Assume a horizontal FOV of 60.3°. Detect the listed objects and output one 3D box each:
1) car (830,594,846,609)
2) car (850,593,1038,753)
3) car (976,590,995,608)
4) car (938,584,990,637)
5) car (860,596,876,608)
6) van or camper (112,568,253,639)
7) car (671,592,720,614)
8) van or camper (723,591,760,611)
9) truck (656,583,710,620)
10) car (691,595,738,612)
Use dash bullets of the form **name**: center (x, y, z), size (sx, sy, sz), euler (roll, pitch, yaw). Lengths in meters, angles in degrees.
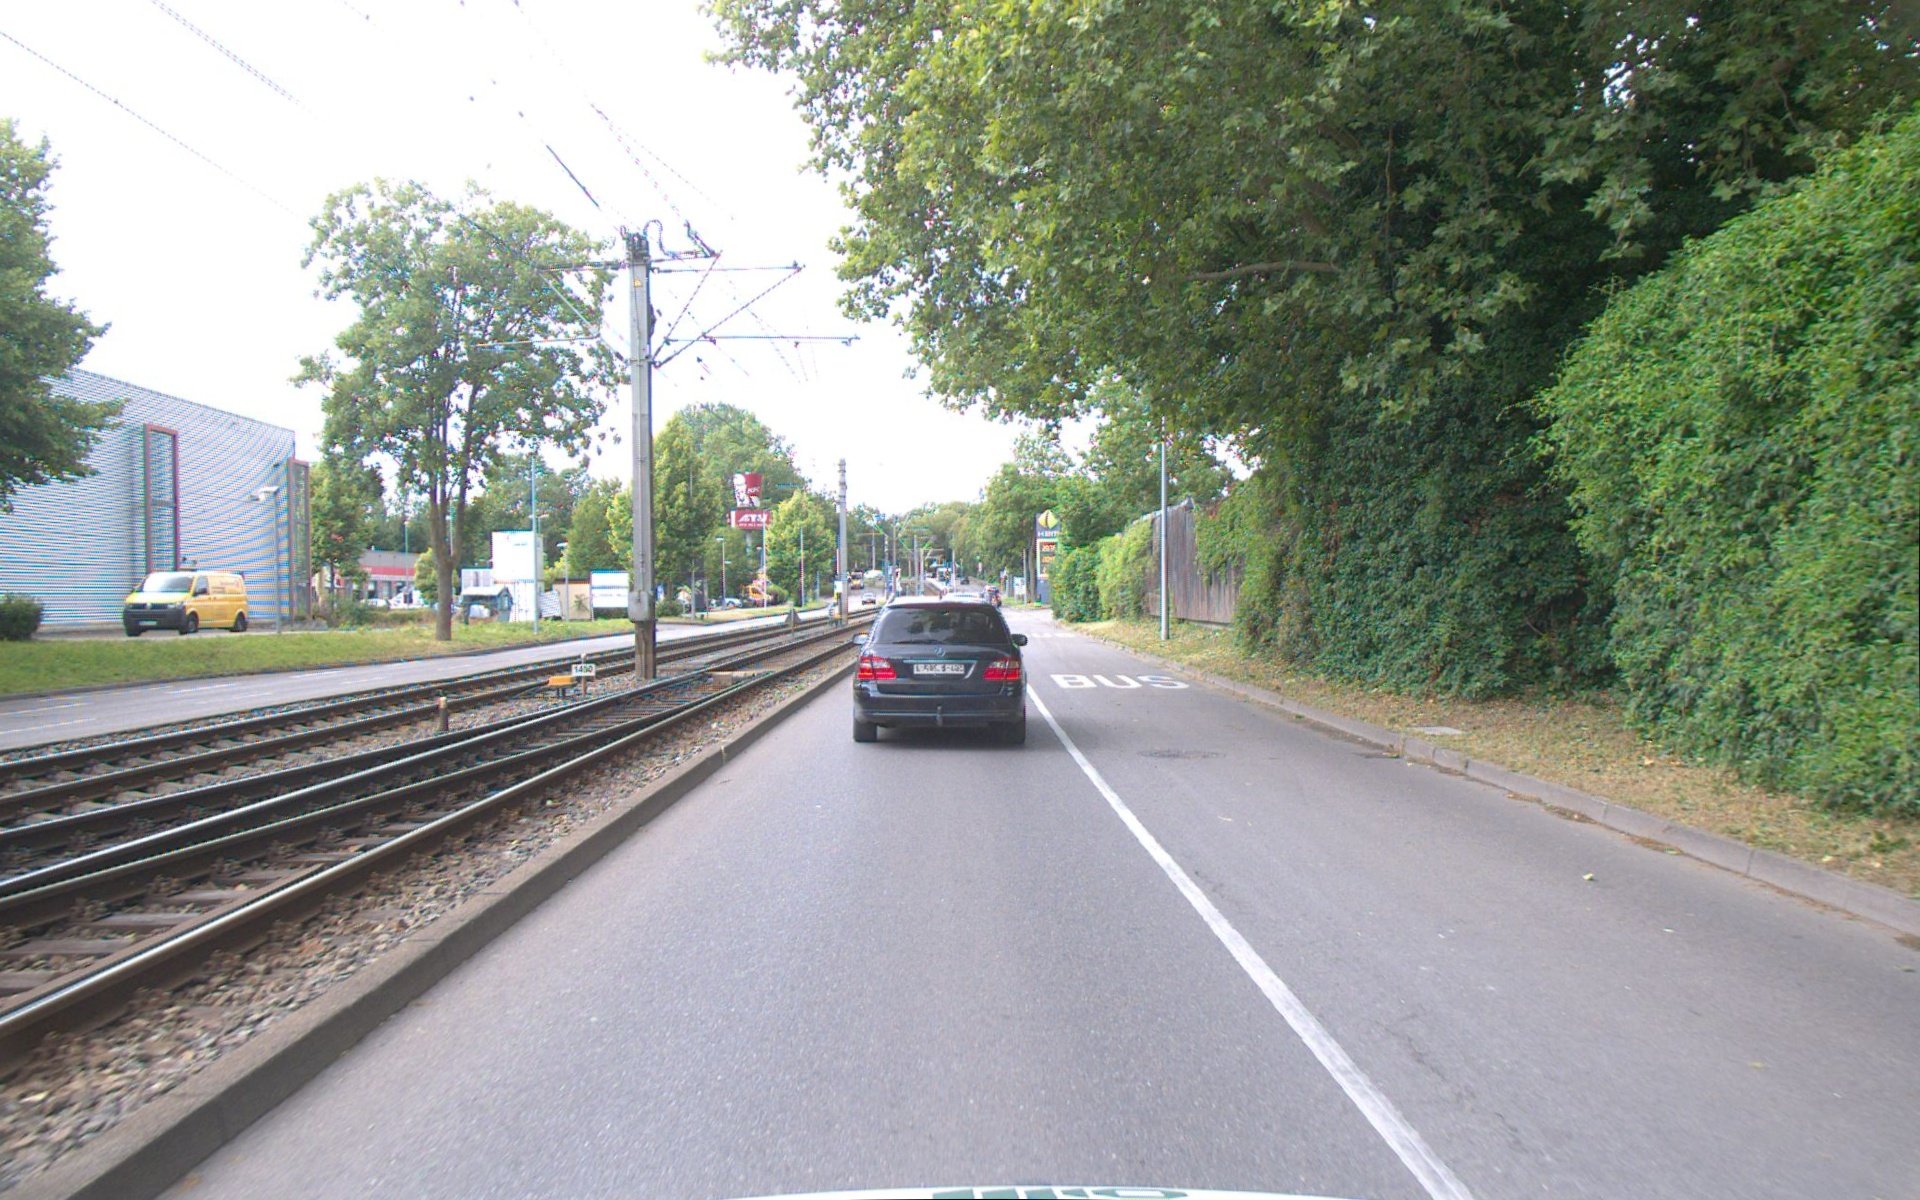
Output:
- **car**: center (-15.384, 0.186, 208.559), size (1.756, 1.803, 3.999), euler (-1, 0, -2)
- **car**: center (-0.139, 0.684, 17.613), size (1.771, 1.500, 3.881), euler (0, 0, 0)
- **car**: center (2.178, -0.100, 139.329), size (1.539, 1.439, 3.354), euler (1, 0, 0)
- **car**: center (0.134, 0.361, 58.218), size (1.744, 1.781, 3.718), euler (1, 0, 0)
- **car**: center (-11.677, 0.241, 210.874), size (1.723, 1.425, 4.443), euler (-4, 0, -1)
- **van or camper**: center (-23.606, 0.095, 50.456), size (2.061, 2.049, 5.239), euler (-1, 0, -3)
- **car**: center (-22.772, 0.252, 142.440), size (3.909, 1.829, 1.876), euler (-1, 0, -5)
- **van or camper**: center (-23.973, 0.099, 181.875), size (3.908, 2.172, 1.876), euler (0, 0, -4)
- **truck**: center (-22.263, 0.115, 132.957), size (3.907, 2.871, 2.375), euler (-1, 0, -3)
- **car**: center (-23.121, 0.341, 155.702), size (4.220, 1.497, 1.680), euler (-1, 0, -2)
